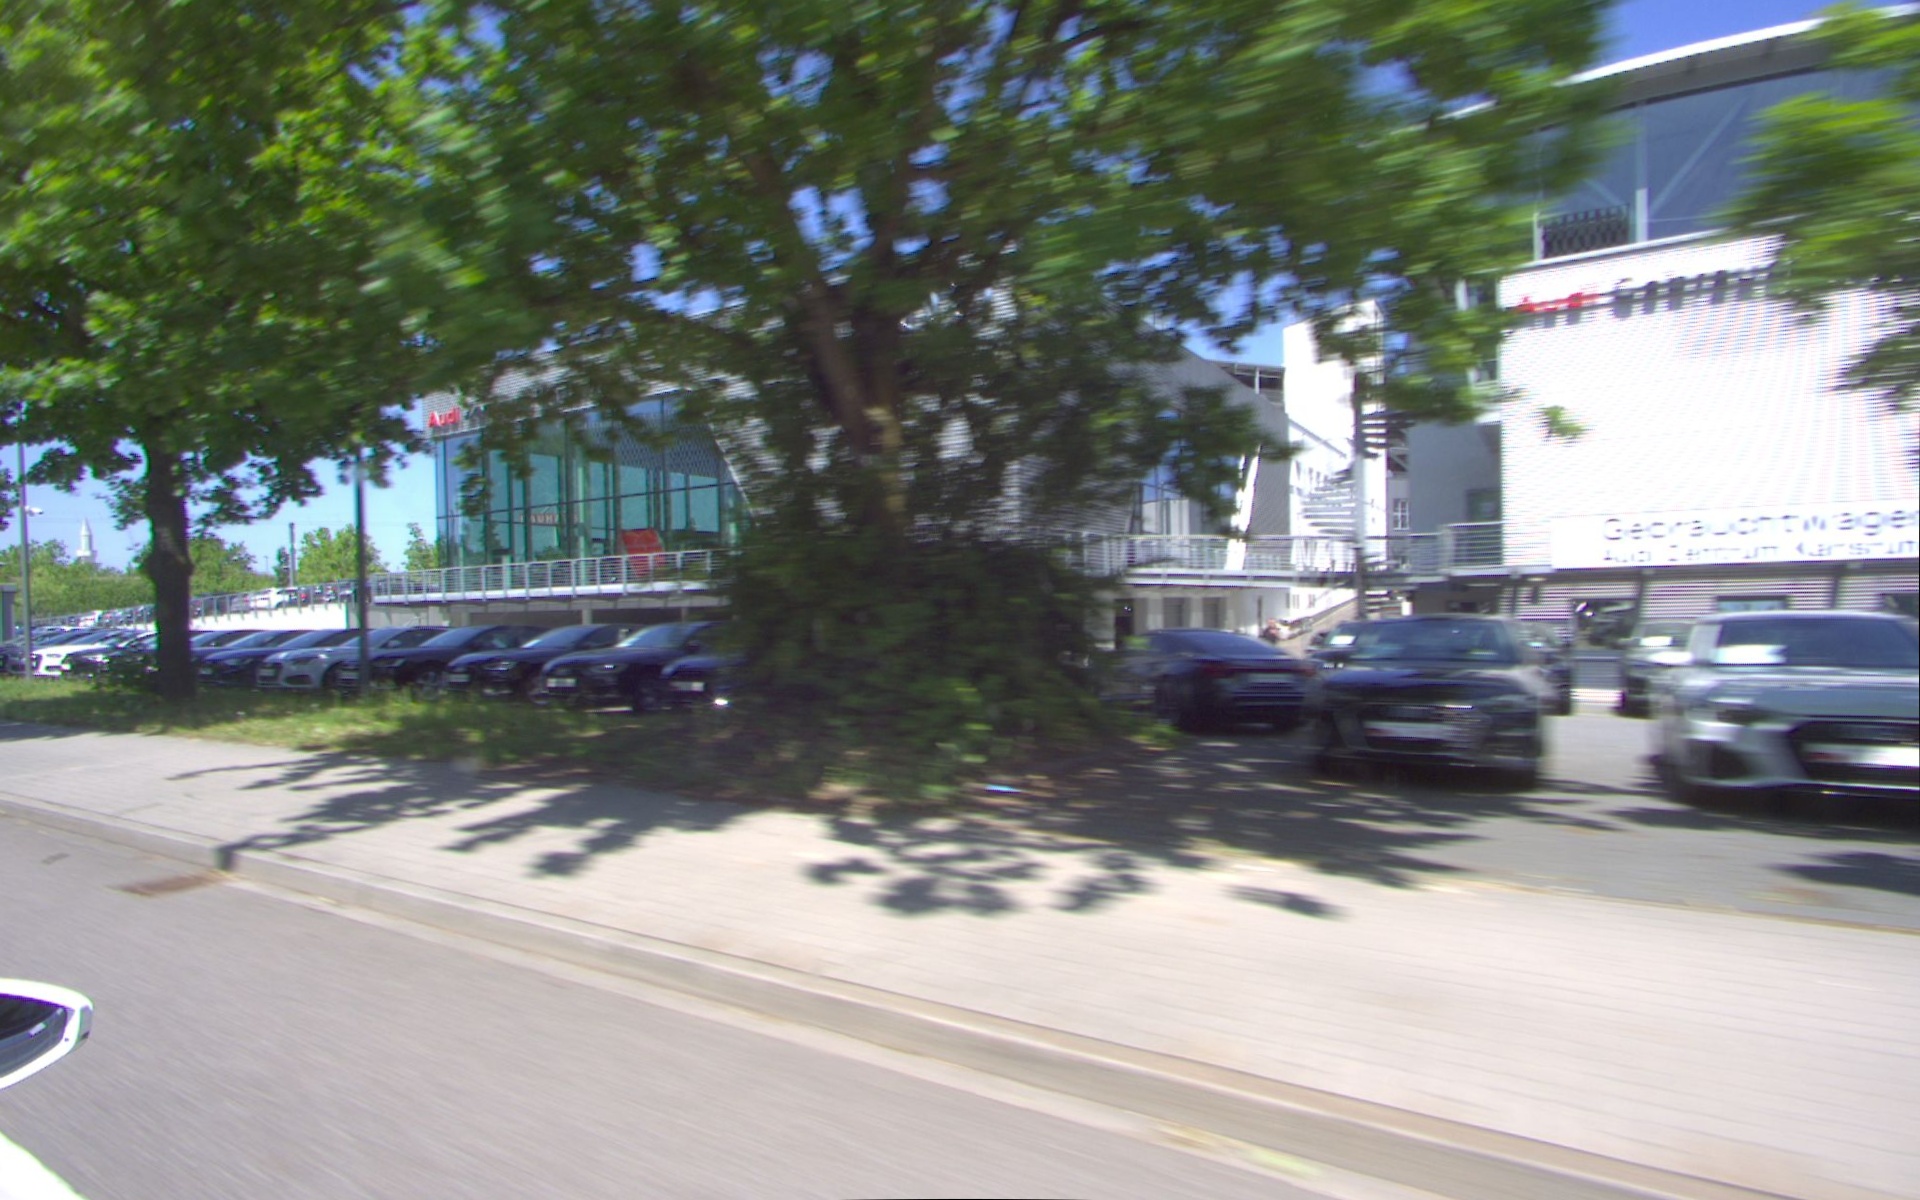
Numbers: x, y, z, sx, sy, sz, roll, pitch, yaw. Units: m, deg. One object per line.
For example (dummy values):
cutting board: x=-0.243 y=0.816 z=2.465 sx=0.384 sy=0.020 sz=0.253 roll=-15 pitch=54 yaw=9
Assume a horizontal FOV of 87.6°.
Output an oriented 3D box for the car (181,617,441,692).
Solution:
car: x=-13.589 y=1.179 z=21.242 sx=1.890 sy=1.424 sz=4.217 roll=-1 pitch=-4 yaw=31

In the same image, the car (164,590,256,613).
car: x=-44.603 y=0.094 z=59.638 sx=1.769 sy=1.329 sz=3.984 roll=-1 pitch=0 yaw=27

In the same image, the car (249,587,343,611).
car: x=-35.751 y=-0.023 z=54.025 sx=1.690 sy=1.226 sz=3.938 roll=-1 pitch=-1 yaw=27

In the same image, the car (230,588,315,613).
car: x=-38.009 y=0.049 z=55.444 sx=1.650 sy=1.255 sz=3.523 roll=-1 pitch=-2 yaw=27

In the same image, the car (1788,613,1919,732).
car: x=14.552 y=1.097 z=15.698 sx=1.824 sy=1.675 sz=3.981 roll=-1 pitch=-3 yaw=31

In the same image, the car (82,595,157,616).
car: x=-55.668 y=0.394 z=66.347 sx=1.519 sy=1.255 sz=3.520 roll=-1 pitch=-2 yaw=30

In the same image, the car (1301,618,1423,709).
car: x=7.991 y=1.210 z=19.706 sx=1.617 sy=1.603 sz=3.894 roll=-1 pitch=-3 yaw=31

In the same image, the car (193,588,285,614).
car: x=-41.659 y=0.074 z=57.953 sx=1.769 sy=1.328 sz=3.987 roll=-1 pitch=-2 yaw=27

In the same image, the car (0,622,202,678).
car: x=-24.380 y=1.461 z=28.371 sx=1.890 sy=1.470 sz=4.218 roll=-1 pitch=-4 yaw=31

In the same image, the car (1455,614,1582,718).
car: x=10.295 y=1.169 z=18.378 sx=1.824 sy=1.675 sz=3.981 roll=-1 pitch=-3 yaw=31

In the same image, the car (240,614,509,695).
car: x=-11.471 y=1.114 z=19.940 sx=1.890 sy=1.424 sz=4.218 roll=-1 pitch=-4 yaw=31

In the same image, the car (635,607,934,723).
car: x=-2.333 y=0.951 z=14.582 sx=1.807 sy=1.409 sz=4.446 roll=-1 pitch=-4 yaw=31

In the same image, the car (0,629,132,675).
car: x=-28.499 y=1.595 z=30.868 sx=1.890 sy=1.358 sz=4.216 roll=-1 pitch=-3 yaw=31

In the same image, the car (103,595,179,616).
car: x=-53.055 y=0.358 z=64.920 sx=1.518 sy=1.255 sz=3.521 roll=-1 pitch=-2 yaw=29

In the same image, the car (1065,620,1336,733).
car: x=3.170 y=1.069 z=14.262 sx=1.819 sy=1.331 sz=4.460 roll=2 pitch=-4 yaw=-16

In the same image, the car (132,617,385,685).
car: x=-15.663 y=1.192 z=22.583 sx=1.960 sy=1.386 sz=4.218 roll=-1 pitch=-4 yaw=31

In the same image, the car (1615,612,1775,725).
car: x=12.397 y=1.121 z=17.123 sx=1.824 sy=1.675 sz=3.981 roll=-1 pitch=-3 yaw=31

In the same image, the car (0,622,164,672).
car: x=-26.450 y=1.413 z=29.553 sx=1.890 sy=1.358 sz=4.218 roll=-1 pitch=-4 yaw=31

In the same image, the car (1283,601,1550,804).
car: x=4.420 y=0.812 z=9.303 sx=1.790 sy=1.419 sz=4.227 roll=-1 pitch=-3 yaw=31

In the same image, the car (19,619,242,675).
car: x=-22.194 y=1.312 z=26.962 sx=1.890 sy=1.358 sz=4.218 roll=-1 pitch=-4 yaw=31

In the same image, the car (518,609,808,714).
car: x=-4.507 y=0.992 z=15.872 sx=1.799 sy=1.424 sz=4.321 roll=-1 pitch=-4 yaw=31

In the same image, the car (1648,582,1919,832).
car: x=6.437 y=0.708 z=7.573 sx=1.807 sy=1.471 sz=3.677 roll=-1 pitch=-3 yaw=31

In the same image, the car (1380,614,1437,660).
car: x=17.990 y=1.497 z=40.099 sx=1.617 sy=1.739 sz=3.894 roll=-1 pitch=-3 yaw=31

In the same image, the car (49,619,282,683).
car: x=-20.093 y=1.342 z=25.525 sx=1.890 sy=1.401 sz=4.220 roll=-1 pitch=-6 yaw=31

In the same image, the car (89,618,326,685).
car: x=-17.882 y=1.292 z=24.003 sx=1.753 sy=1.397 sz=4.128 roll=-1 pitch=-6 yaw=31

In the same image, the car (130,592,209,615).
car: x=-49.287 y=0.239 z=62.488 sx=1.586 sy=1.255 sz=3.521 roll=-1 pitch=-2 yaw=29

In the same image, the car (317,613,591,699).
car: x=-9.300 y=1.080 z=18.764 sx=1.890 sy=1.424 sz=4.218 roll=-1 pitch=-4 yaw=31

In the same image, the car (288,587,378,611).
car: x=-33.064 y=-0.019 z=52.869 sx=1.657 sy=1.145 sz=3.724 roll=-1 pitch=-2 yaw=27

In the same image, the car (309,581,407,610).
car: x=-30.947 y=-0.206 z=51.593 sx=1.769 sy=1.328 sz=3.987 roll=-1 pitch=-2 yaw=27

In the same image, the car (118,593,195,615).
car: x=-51.257 y=0.263 z=63.948 sx=1.586 sy=1.255 sz=3.521 roll=-1 pitch=-2 yaw=29

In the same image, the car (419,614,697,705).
car: x=-6.807 y=1.051 z=17.424 sx=1.852 sy=1.372 sz=4.218 roll=-1 pitch=-4 yaw=31
